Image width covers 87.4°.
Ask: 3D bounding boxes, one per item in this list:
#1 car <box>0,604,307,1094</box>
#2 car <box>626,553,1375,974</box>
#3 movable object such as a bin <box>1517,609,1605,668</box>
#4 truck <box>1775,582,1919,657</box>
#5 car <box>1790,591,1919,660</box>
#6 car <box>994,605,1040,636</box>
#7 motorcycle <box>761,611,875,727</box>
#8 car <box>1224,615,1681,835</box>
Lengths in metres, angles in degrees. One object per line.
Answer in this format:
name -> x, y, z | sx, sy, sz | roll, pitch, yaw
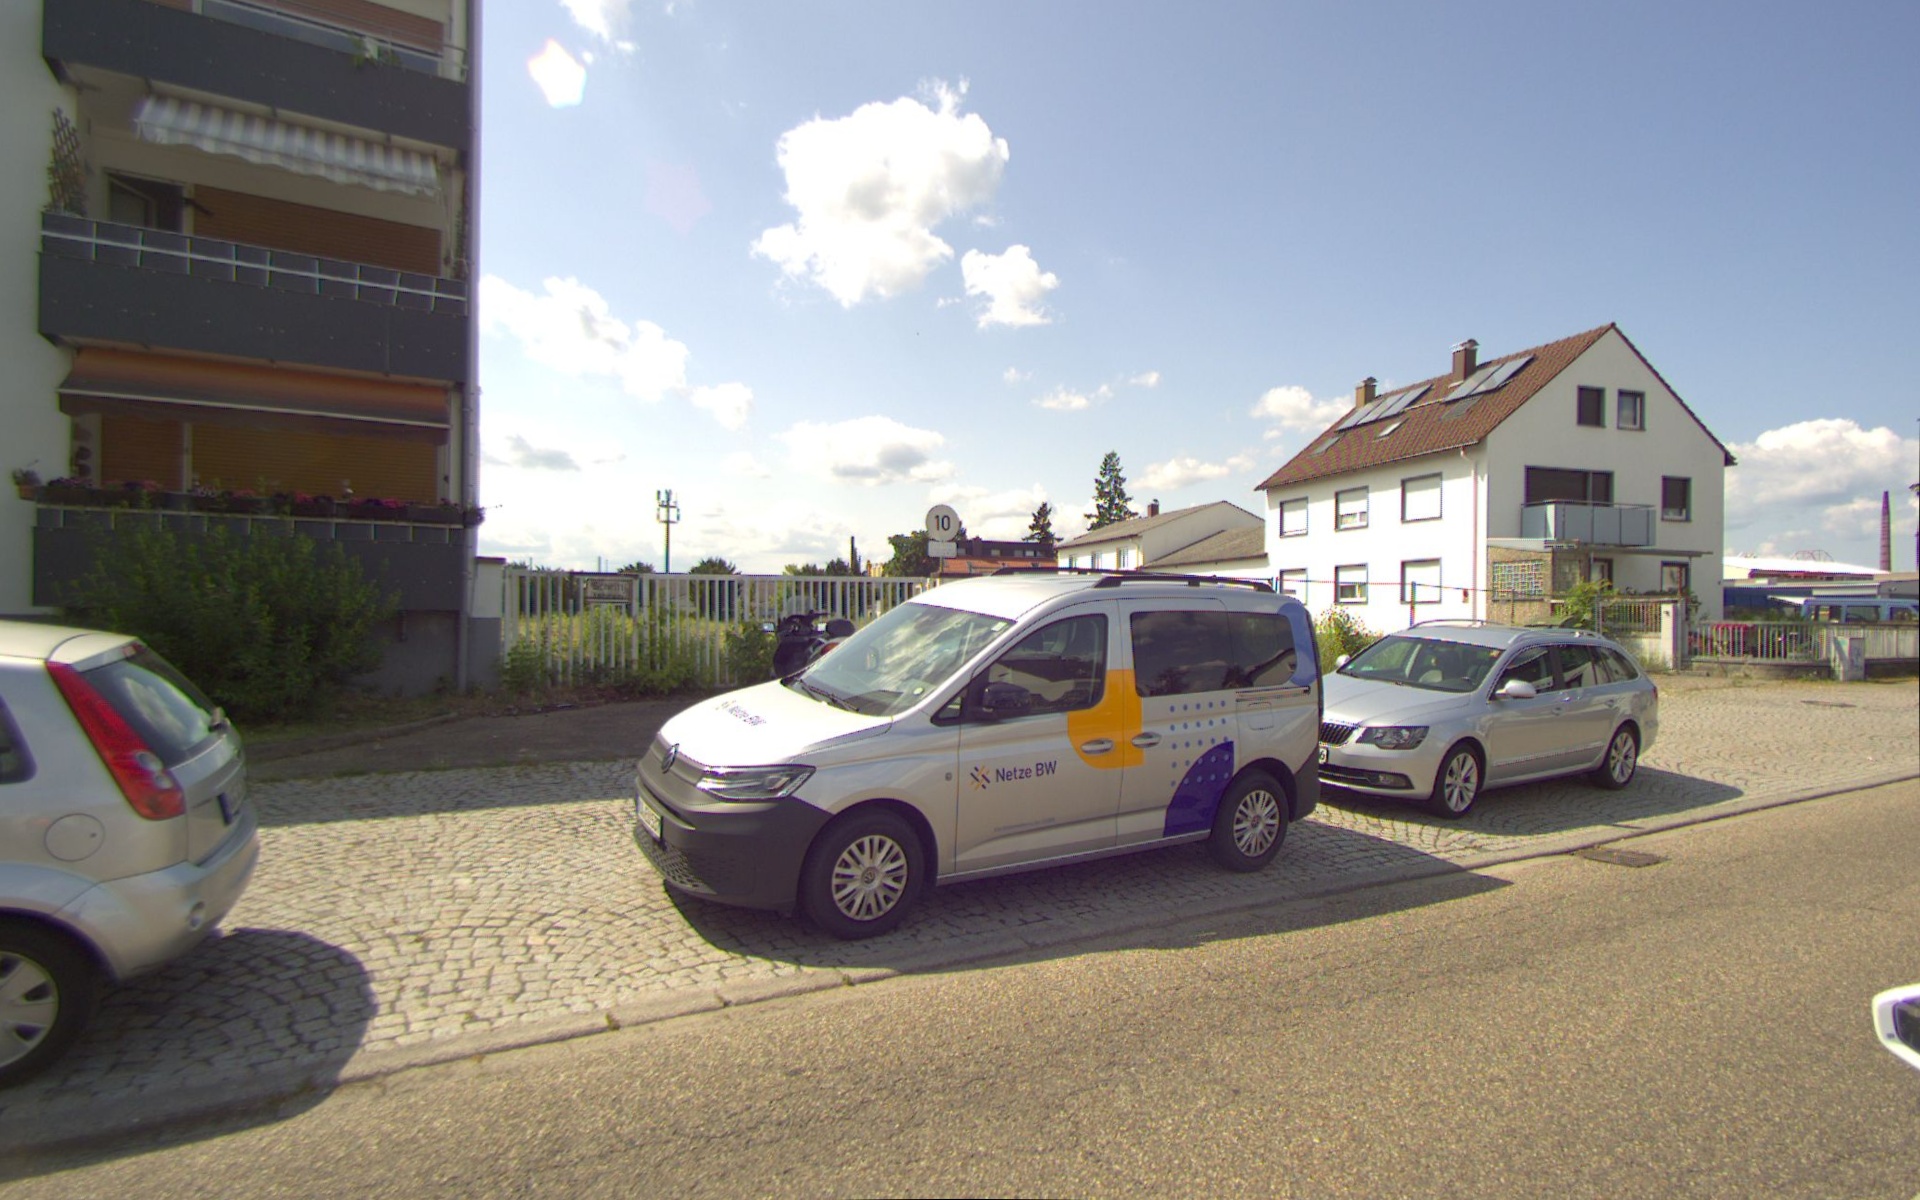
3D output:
car -> -4.513, 0.771, 3.265 | 3.879, 1.489, 1.614 | 2, 2, -30
car -> 0.395, 0.723, 6.332 | 4.441, 1.830, 1.800 | 1, 2, -32
movable object such as a bin -> 16.874, 1.059, 28.241 | 1.576, 1.451, 1.309 | -6, 1, -14
truck -> 38.059, 0.783, 39.404 | 2.684, 2.894, 9.229 | 1, -1, -26
car -> 32.053, 0.891, 34.664 | 1.968, 2.261, 4.998 | 2, -1, -17
car -> 3.941, 1.413, 69.937 | 1.968, 2.040, 3.985 | 1, -1, -17
motorcycle -> -1.834, 0.813, 12.637 | 0.670, 1.266, 2.082 | 1, 1, -30
car -> 4.771, 0.962, 9.484 | 4.659, 1.481, 1.738 | 0, 3, -34
